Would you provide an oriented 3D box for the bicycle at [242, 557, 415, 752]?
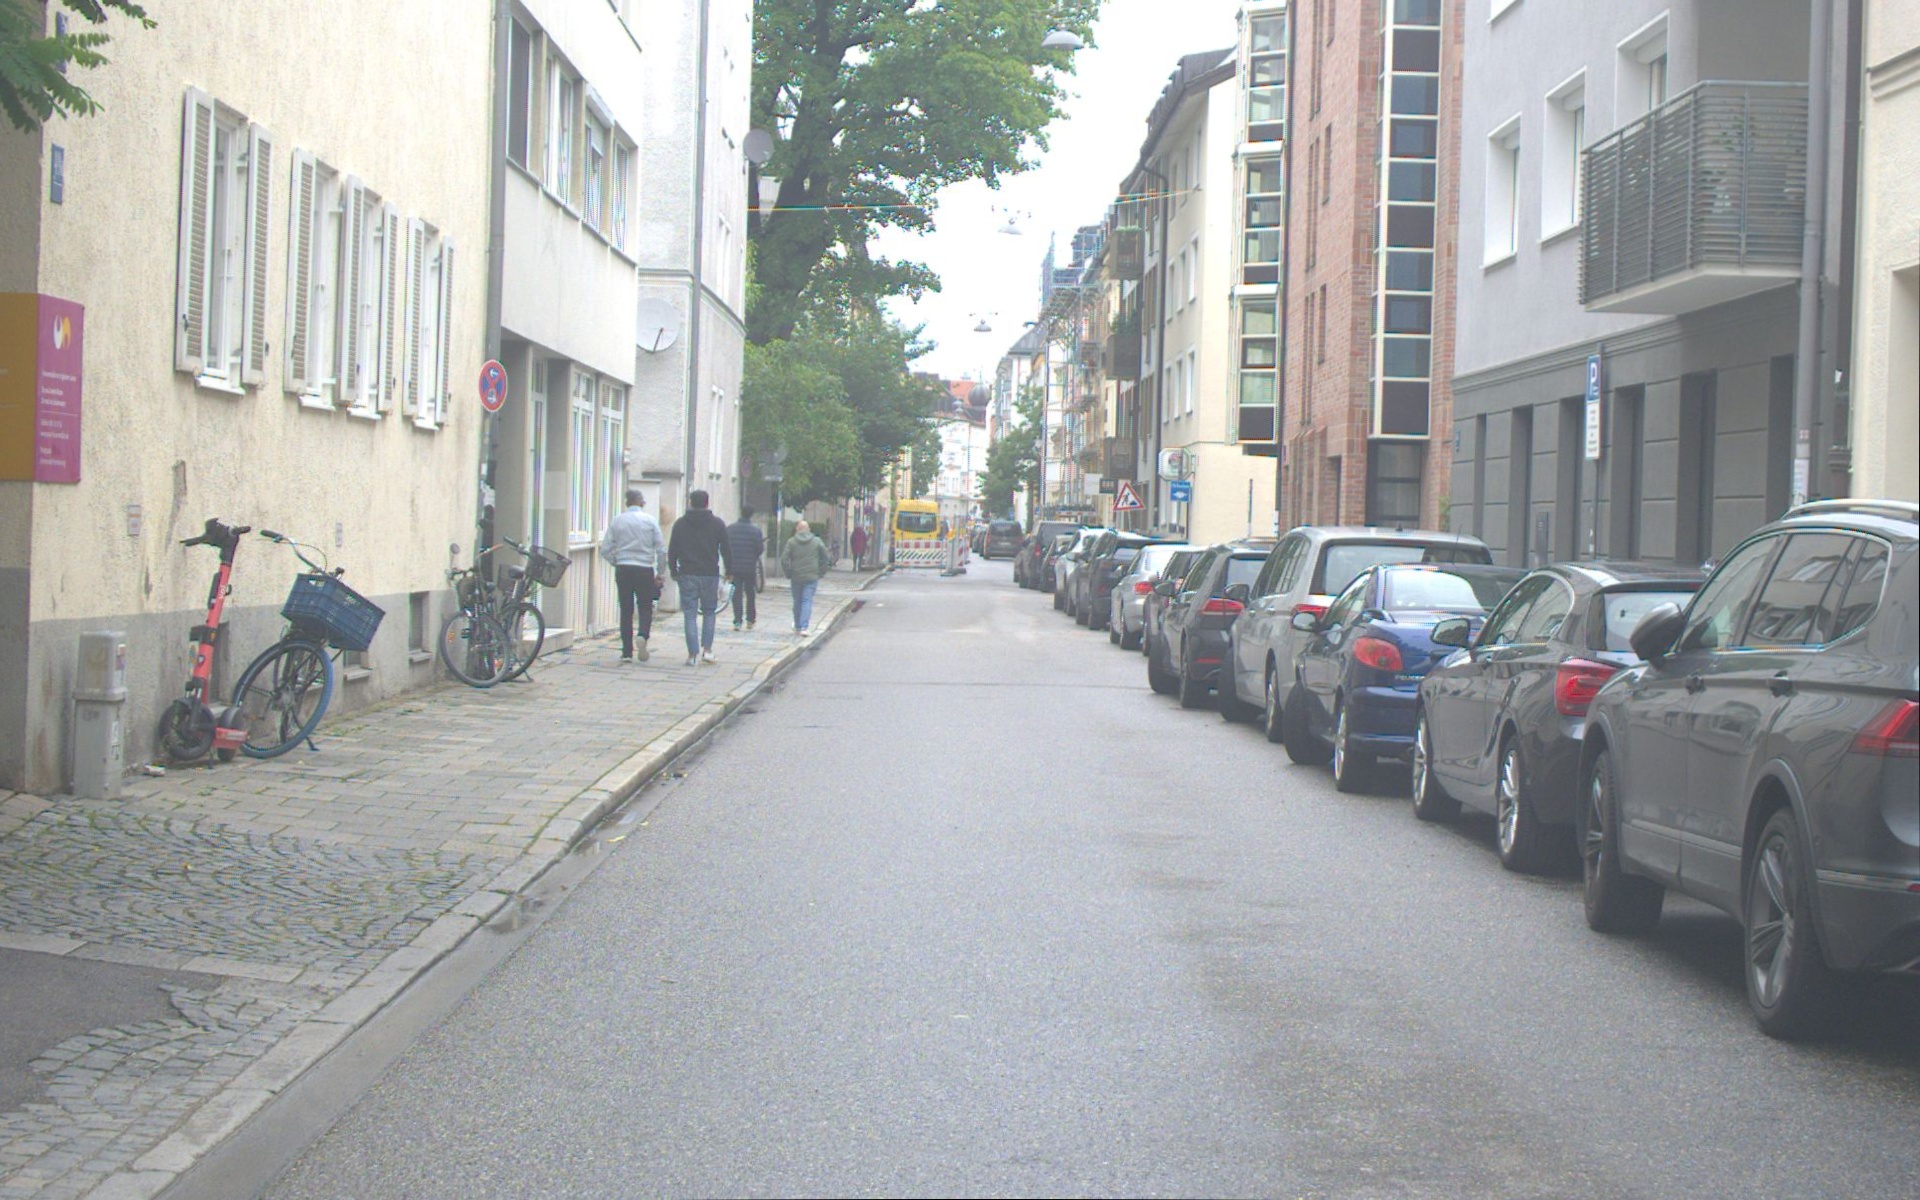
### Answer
[{"bbox_3d":[-3.582,0.286,19.629,0.703,0.981,1.823,5,1,-5],"label":"bicycle"}]

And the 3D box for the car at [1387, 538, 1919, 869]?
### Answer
[{"bbox_3d":[3.326,0.409,16.996,1.799,1.381,4.349,1,1,-1],"label":"car"}]

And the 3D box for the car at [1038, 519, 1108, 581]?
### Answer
[{"bbox_3d":[2.883,-1.297,88.316,1.624,1.482,3.808,2,1,0],"label":"car"}]

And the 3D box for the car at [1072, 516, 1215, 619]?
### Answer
[{"bbox_3d":[2.952,-0.566,56.196,1.885,1.550,4.392,2,1,-2],"label":"car"}]

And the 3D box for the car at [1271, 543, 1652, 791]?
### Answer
[{"bbox_3d":[3.030,0.348,21.534,1.808,1.358,3.945,1,1,0],"label":"car"}]

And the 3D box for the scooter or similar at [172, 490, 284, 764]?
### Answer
[{"bbox_3d":[-3.798,0.125,17.894,0.317,1.371,1.239,1,1,0],"label":"scooter or similar"}]

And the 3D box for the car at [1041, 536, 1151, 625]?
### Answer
[{"bbox_3d":[2.605,-0.400,66.612,1.748,1.624,4.197,1,1,-3],"label":"car"}]

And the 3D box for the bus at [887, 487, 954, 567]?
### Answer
[{"bbox_3d":[-1.569,-2.927,138.537,2.593,3.091,6.306,1,1,0],"label":"bus"}]

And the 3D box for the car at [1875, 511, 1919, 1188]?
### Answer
[{"bbox_3d":[3.163,0.666,6.174,1.702,1.601,4.685,2,1,-1],"label":"car"}]

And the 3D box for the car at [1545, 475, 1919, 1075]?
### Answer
[{"bbox_3d":[3.270,0.448,11.775,1.676,1.655,4.513,2,1,-1],"label":"car"}]

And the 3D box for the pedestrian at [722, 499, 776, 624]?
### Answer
[{"bbox_3d":[-2.937,-0.538,47.943,0.612,1.707,0.823,3,1,-1],"label":"pedestrian"}]

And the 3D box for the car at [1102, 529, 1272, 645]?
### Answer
[{"bbox_3d":[3.004,-0.213,46.353,1.836,1.412,4.601,2,1,-1],"label":"car"}]

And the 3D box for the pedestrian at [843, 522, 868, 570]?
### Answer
[{"bbox_3d":[-3.243,-1.681,106.933,0.756,1.486,0.831,1,1,0],"label":"pedestrian"}]

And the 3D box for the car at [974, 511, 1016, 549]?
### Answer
[{"bbox_3d":[1.729,-3.459,170.305,1.801,1.706,3.827,5,1,-2],"label":"car"}]

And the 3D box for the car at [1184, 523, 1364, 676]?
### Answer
[{"bbox_3d":[3.327,-0.041,36.885,1.521,1.506,3.202,2,1,-1],"label":"car"}]

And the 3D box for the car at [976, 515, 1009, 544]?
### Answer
[{"bbox_3d":[1.879,-4.081,198.742,1.801,1.608,4.000,2,1,0],"label":"car"}]

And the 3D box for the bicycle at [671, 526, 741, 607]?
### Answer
[{"bbox_3d":[-3.884,-0.518,52.447,0.641,1.213,1.665,0,1,-19],"label":"bicycle"}]

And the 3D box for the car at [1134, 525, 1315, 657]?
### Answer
[{"bbox_3d":[3.157,-0.146,41.753,1.745,1.457,4.151,2,1,-1],"label":"car"}]

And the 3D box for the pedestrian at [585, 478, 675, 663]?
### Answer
[{"bbox_3d":[-3.300,-0.300,34.465,0.718,1.790,0.917,3,1,0],"label":"pedestrian"}]

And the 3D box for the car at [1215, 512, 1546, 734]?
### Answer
[{"bbox_3d":[3.131,0.113,26.450,1.875,1.565,4.317,0,1,-2],"label":"car"}]

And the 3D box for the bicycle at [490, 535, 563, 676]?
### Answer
[{"bbox_3d":[-3.708,0.031,29.486,0.561,1.155,1.721,2,1,-6],"label":"bicycle"}]

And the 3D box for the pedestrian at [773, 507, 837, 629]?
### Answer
[{"bbox_3d":[-2.165,-0.449,48.118,0.753,1.653,0.906,3,1,0],"label":"pedestrian"}]

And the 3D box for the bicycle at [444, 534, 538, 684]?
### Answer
[{"bbox_3d":[-3.776,0.058,27.770,0.458,1.155,1.605,4,1,1],"label":"bicycle"}]

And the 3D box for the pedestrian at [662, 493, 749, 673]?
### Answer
[{"bbox_3d":[-2.561,-0.174,34.654,0.718,1.759,0.838,3,1,0],"label":"pedestrian"}]

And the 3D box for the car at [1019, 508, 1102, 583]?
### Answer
[{"bbox_3d":[2.695,-1.497,92.675,1.801,1.814,4.001,5,1,-3],"label":"car"}]

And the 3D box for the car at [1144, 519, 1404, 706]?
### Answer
[{"bbox_3d":[2.781,0.055,31.336,1.839,1.523,4.293,2,1,-1],"label":"car"}]
